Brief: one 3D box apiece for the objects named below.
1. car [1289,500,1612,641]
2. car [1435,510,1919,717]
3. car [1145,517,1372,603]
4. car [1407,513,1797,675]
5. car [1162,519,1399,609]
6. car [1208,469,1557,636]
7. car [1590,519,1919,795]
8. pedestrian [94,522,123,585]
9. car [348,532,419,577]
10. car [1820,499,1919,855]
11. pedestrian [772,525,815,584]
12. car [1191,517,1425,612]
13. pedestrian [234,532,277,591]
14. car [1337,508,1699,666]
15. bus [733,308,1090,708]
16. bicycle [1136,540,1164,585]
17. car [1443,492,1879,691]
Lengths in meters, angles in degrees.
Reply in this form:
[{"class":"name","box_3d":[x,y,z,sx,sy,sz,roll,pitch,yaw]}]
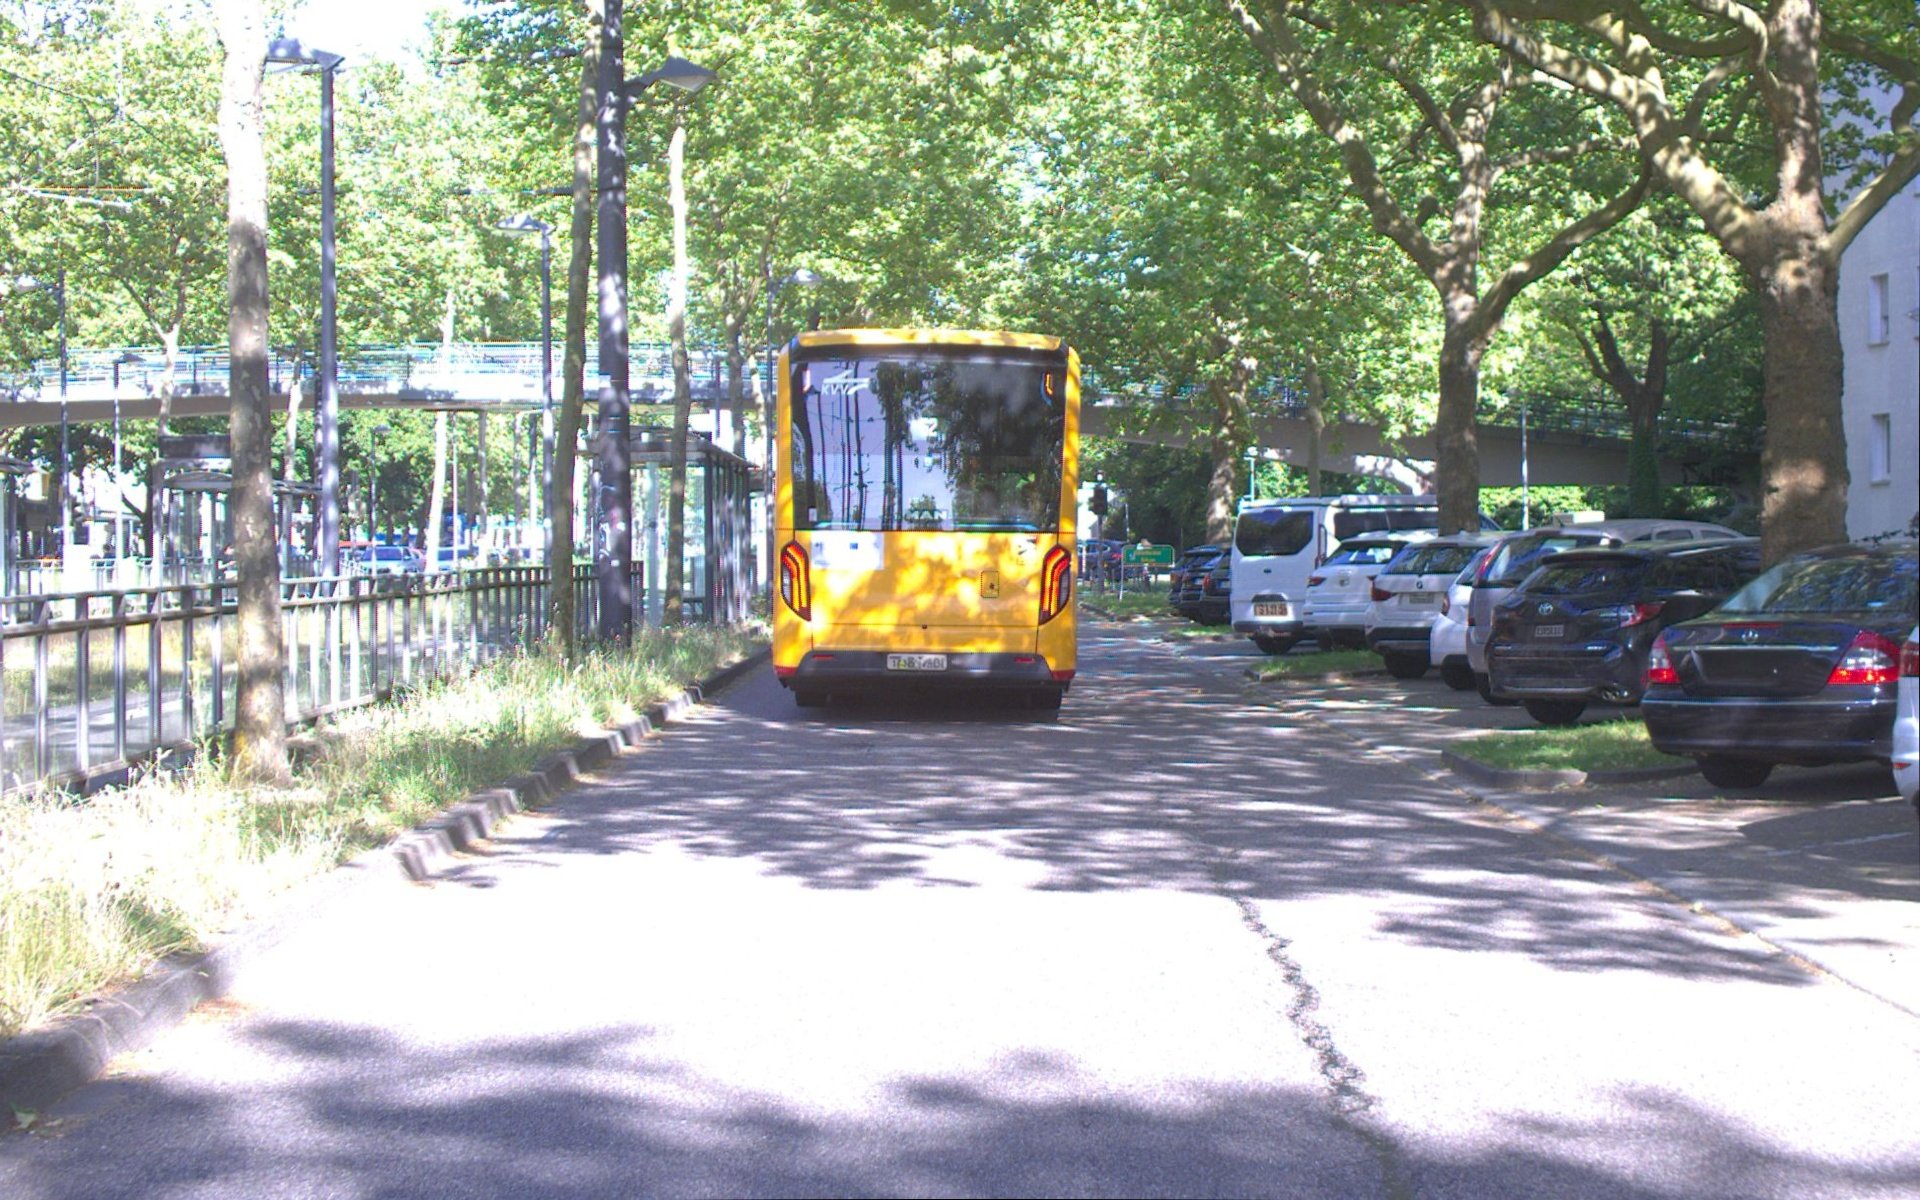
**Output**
[{"class":"car","box_3d":[6.209,-0.386,43.276,4.047,1.575,1.832,-3,1,-43]},{"class":"car","box_3d":[6.065,0.065,27.565,4.396,1.423,1.951,-3,1,-39]},{"class":"car","box_3d":[5.726,-0.768,65.722,4.244,1.456,1.799,-3,1,-40]},{"class":"car","box_3d":[6.419,-0.077,34.143,1.831,1.414,3.990,-1,1,45]},{"class":"car","box_3d":[5.862,-0.665,62.626,4.244,1.456,1.799,-3,1,-40]},{"class":"car","box_3d":[5.739,-0.657,46.382,4.577,2.045,2.017,-3,1,-40]},{"class":"car","box_3d":[5.824,0.238,20.412,1.799,1.418,4.578,0,2,45]},{"class":"pedestrian","box_3d":[-22.528,-1.232,90.965,0.648,1.655,0.650,0,1,-4]},{"class":"car","box_3d":[-20.610,-1.631,123.020,1.794,1.575,4.288,0,1,0]},{"class":"car","box_3d":[6.005,0.269,16.146,3.989,1.570,1.799,-3,2,-40]},{"class":"pedestrian","box_3d":[-3.563,-0.970,73.641,0.855,1.239,0.850,1,1,2]},{"class":"car","box_3d":[6.043,-0.619,59.475,3.989,1.463,1.782,-3,1,-43]},{"class":"pedestrian","box_3d":[-14.836,-0.815,72.415,0.778,1.233,0.722,0,1,-1]},{"class":"car","box_3d":[6.087,-0.159,37.168,1.798,1.505,4.202,-1,1,43]},{"class":"bus","box_3d":[-0.507,-0.855,34.081,2.899,3.255,12.219,0,1,-1]},{"class":"bicycle","box_3d":[5.245,-1.038,95.058,0.590,1.179,1.800,-3,2,-1]},{"class":"car","box_3d":[6.368,-0.102,31.002,3.989,1.584,1.799,-3,1,-42]}]
